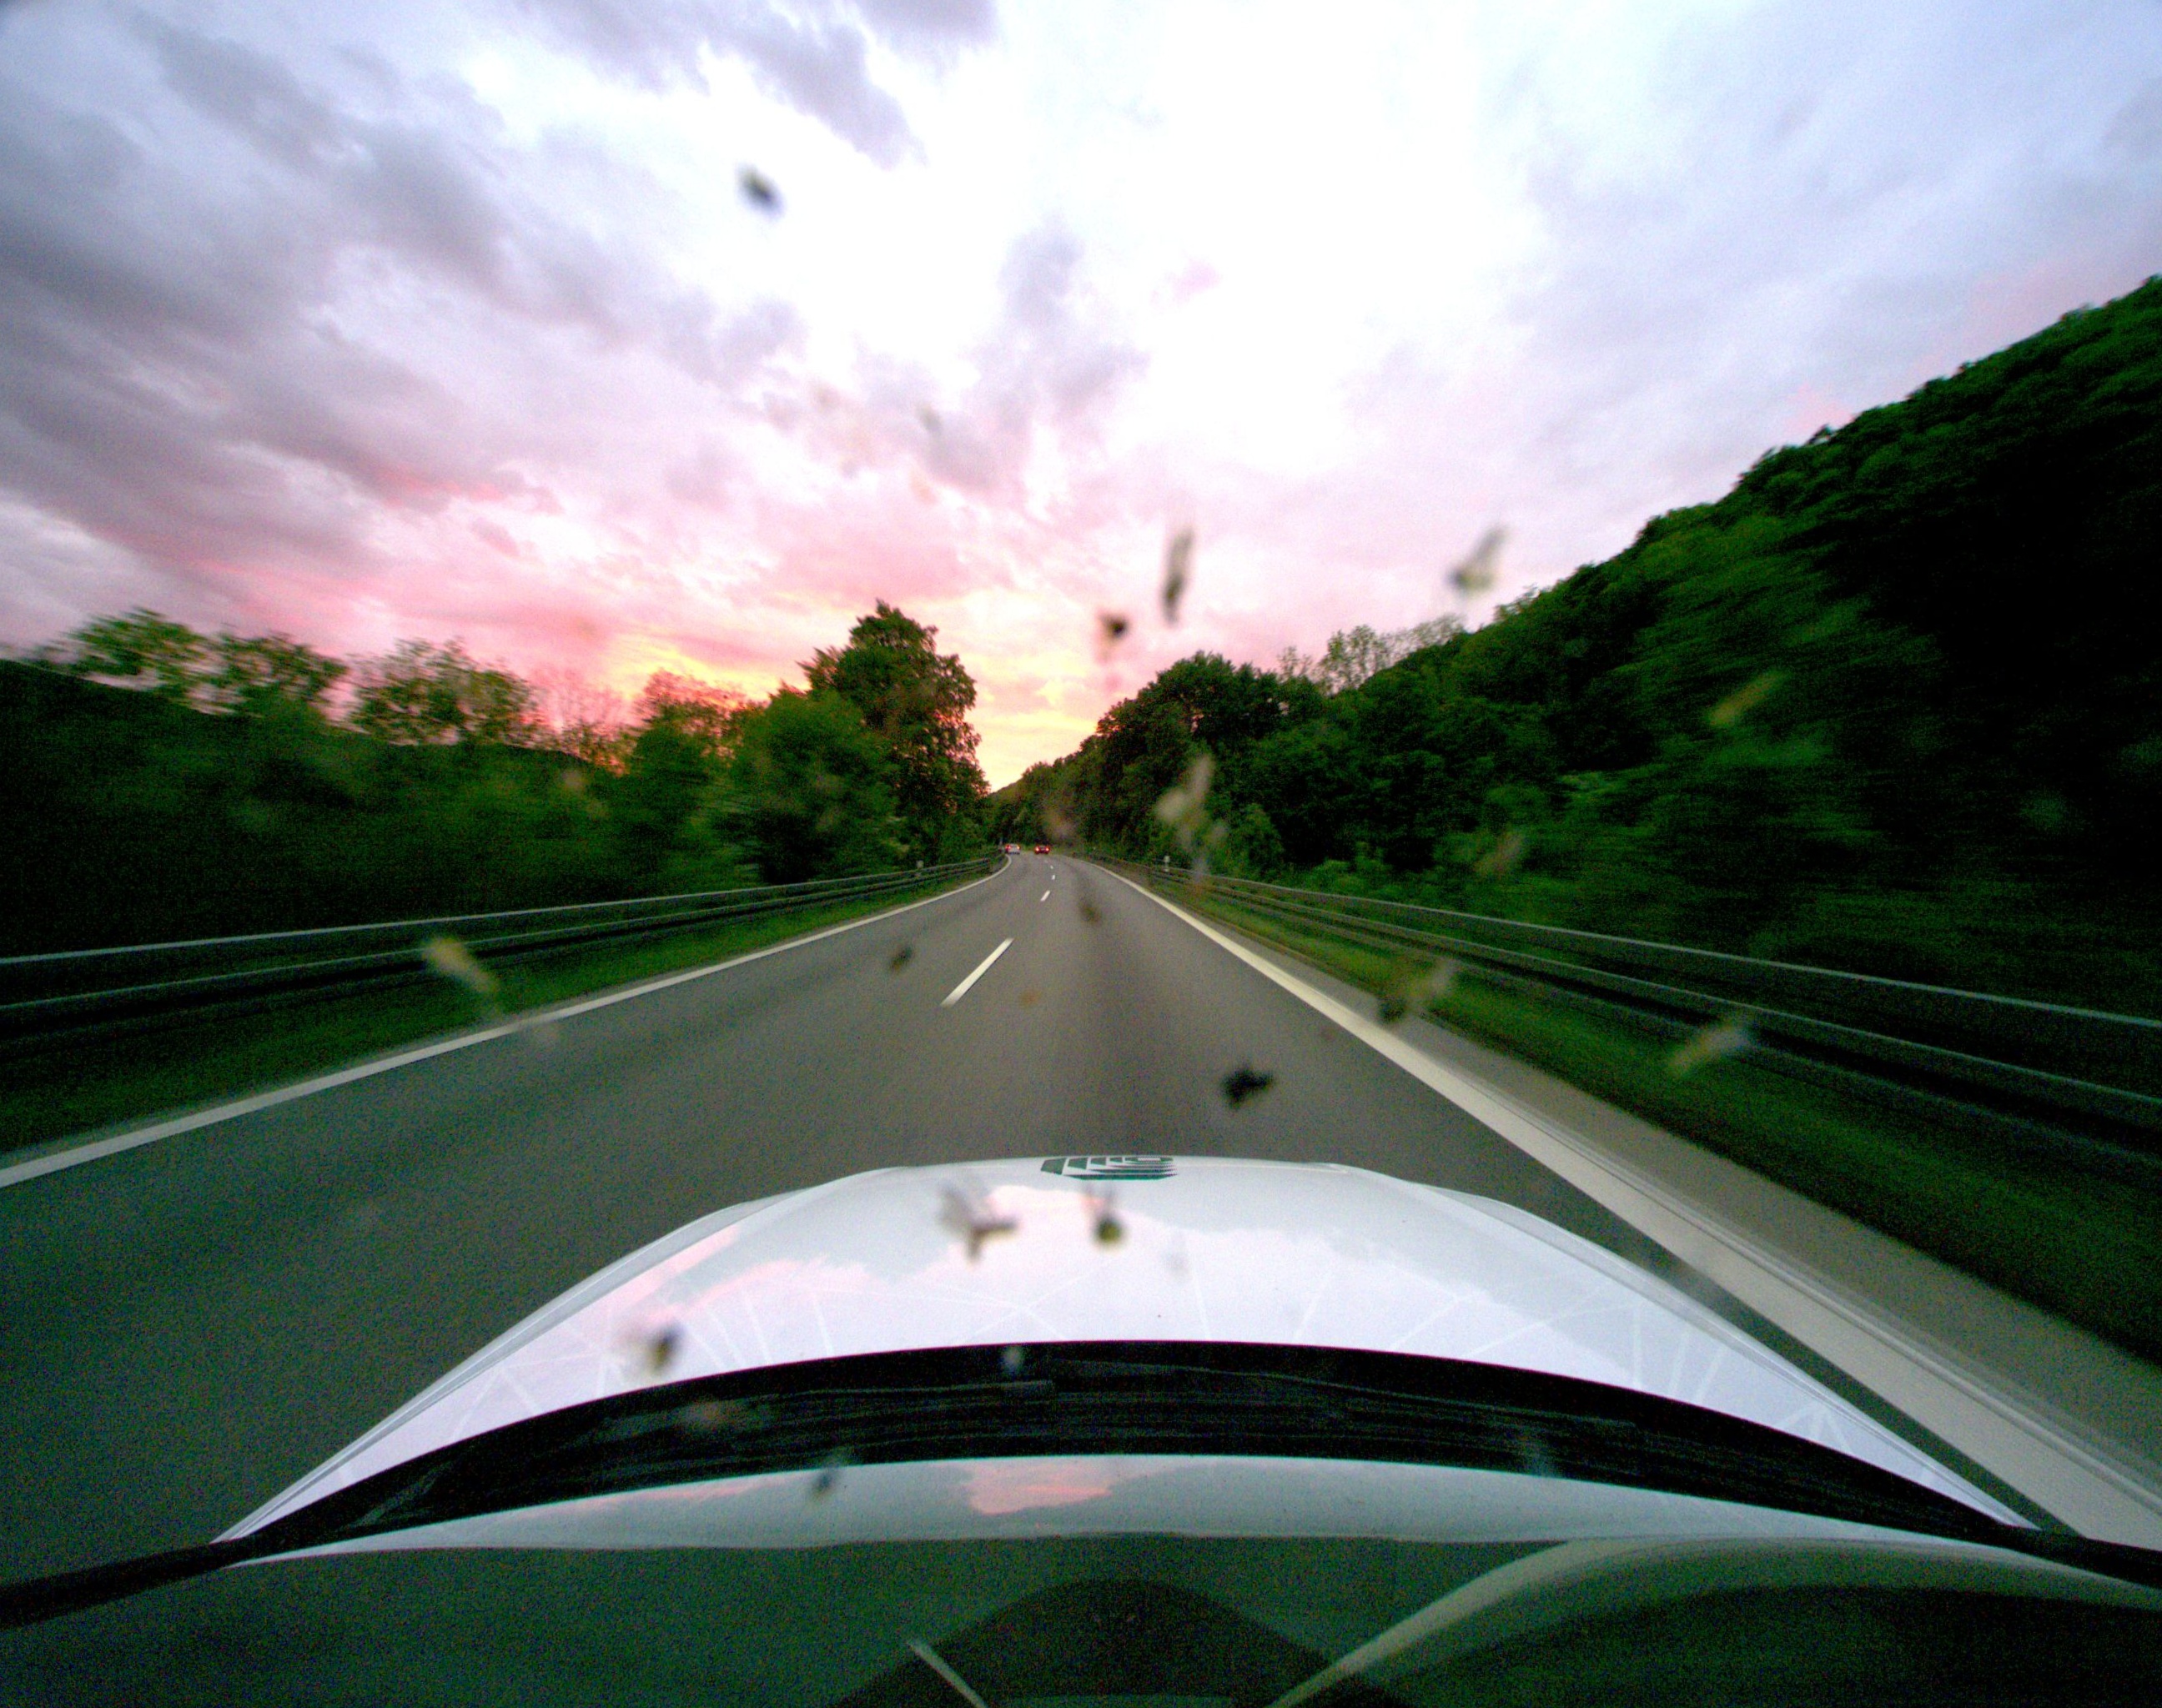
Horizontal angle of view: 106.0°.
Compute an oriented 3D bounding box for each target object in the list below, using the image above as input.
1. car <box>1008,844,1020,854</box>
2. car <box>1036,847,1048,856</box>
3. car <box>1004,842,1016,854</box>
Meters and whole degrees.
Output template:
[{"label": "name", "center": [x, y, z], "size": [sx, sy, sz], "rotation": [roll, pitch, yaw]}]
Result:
[{"label": "car", "center": [-10.441, -0.788, 126.294], "size": [1.714, 1.501, 3.995], "rotation": [1, -1, -3]}, {"label": "car", "center": [-5.891, -0.383, 123.550], "size": [1.873, 1.466, 3.997], "rotation": [0, 0, -2]}, {"label": "car", "center": [-11.792, -1.003, 135.321], "size": [1.716, 1.635, 3.991], "rotation": [-4, -1, -6]}]
